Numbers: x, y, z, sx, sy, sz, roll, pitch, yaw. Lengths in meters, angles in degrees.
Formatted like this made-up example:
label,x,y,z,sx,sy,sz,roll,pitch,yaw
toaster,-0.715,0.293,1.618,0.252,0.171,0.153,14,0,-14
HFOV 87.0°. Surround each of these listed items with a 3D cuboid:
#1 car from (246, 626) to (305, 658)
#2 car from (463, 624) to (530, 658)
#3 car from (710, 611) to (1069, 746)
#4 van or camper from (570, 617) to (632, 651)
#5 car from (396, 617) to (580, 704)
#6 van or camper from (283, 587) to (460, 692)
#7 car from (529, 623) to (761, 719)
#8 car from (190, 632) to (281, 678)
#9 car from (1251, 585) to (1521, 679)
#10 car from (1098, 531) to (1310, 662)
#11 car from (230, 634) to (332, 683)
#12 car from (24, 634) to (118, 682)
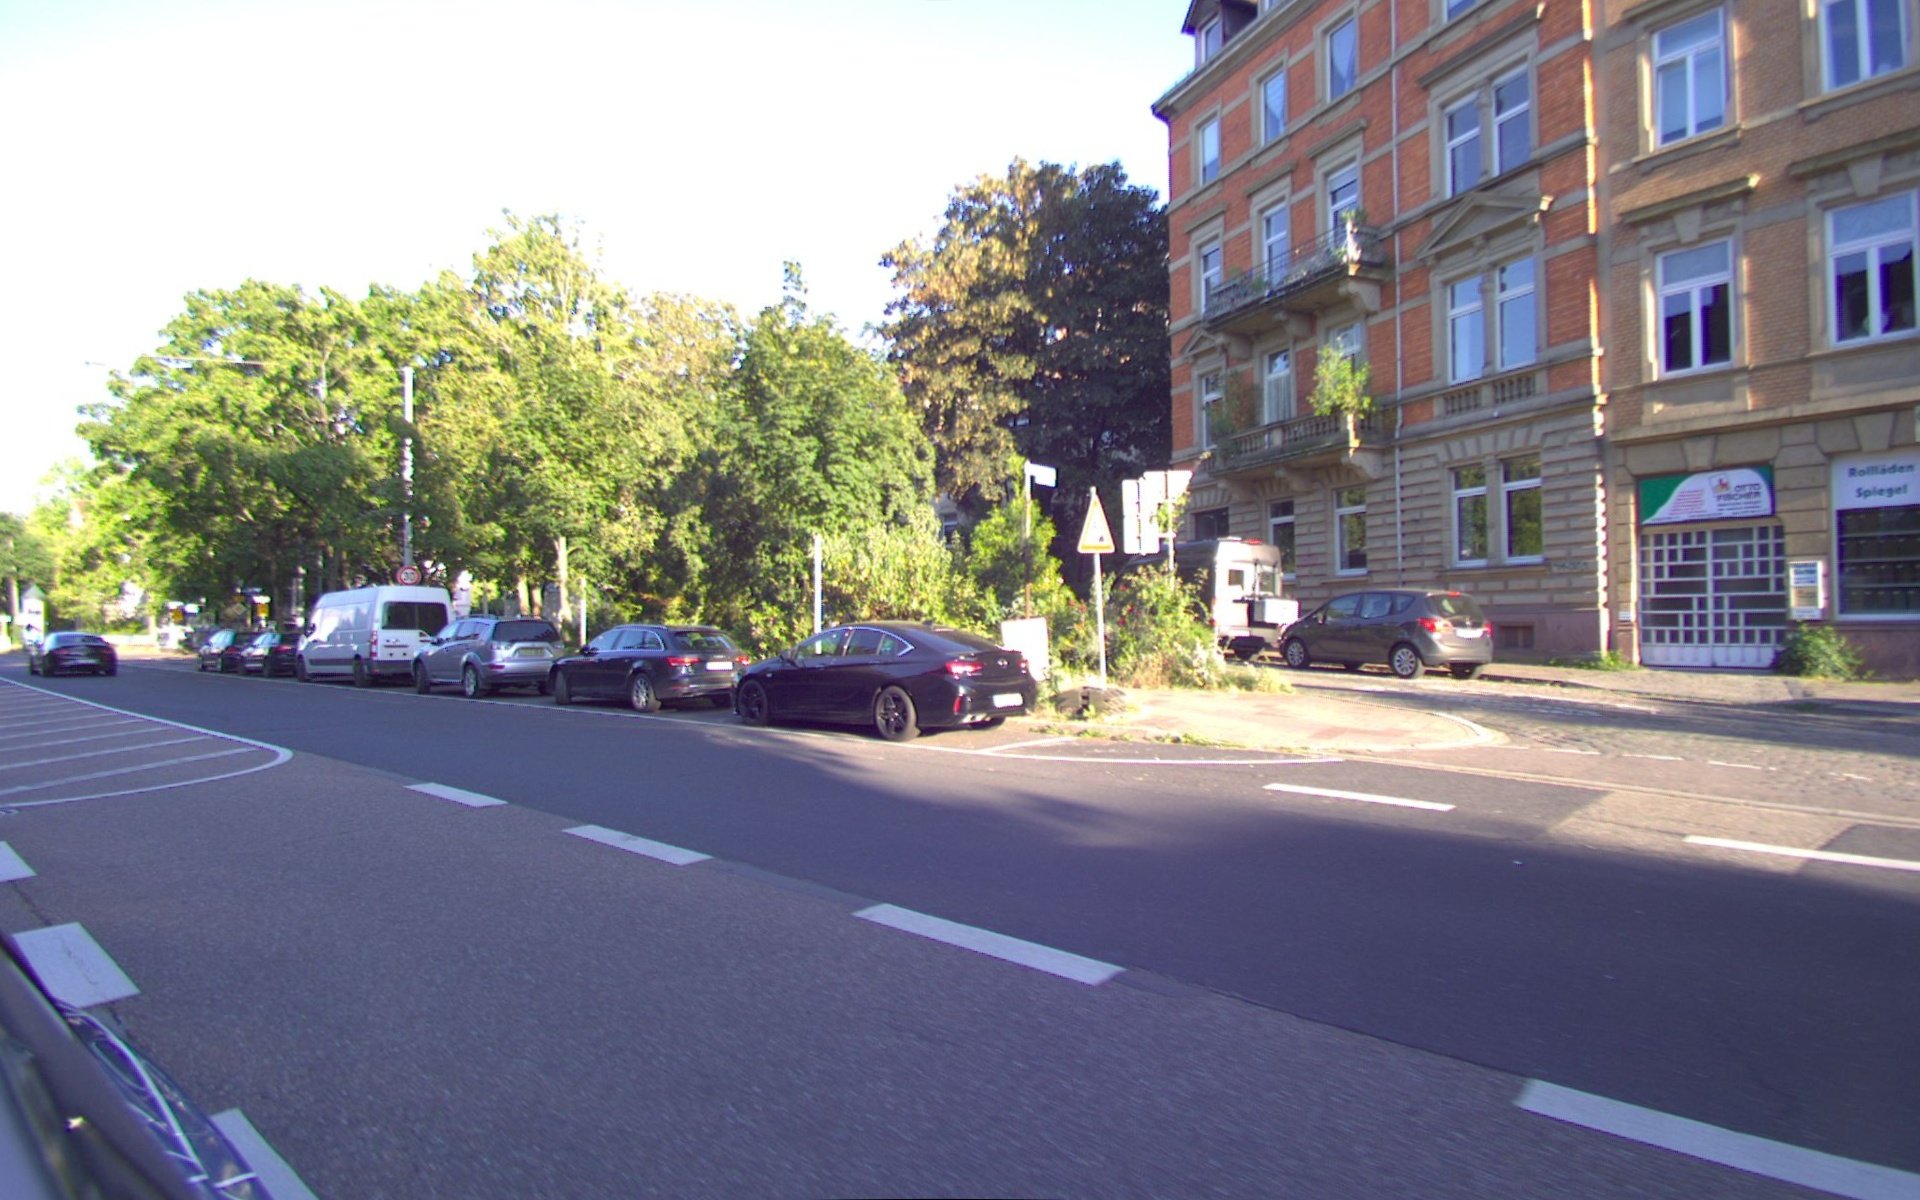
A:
label,x,y,z,sx,sy,sz,roll,pitch,yaw
car,-41.586,2.540,61.458,3.993,1.809,1.802,-2,-1,37
car,-27.478,2.432,59.963,3.993,1.896,1.975,-2,0,37
car,-1.099,0.939,13.538,4.826,1.495,1.973,-2,-2,41
van or camper,-27.887,2.654,78.529,5.423,2.490,2.045,-2,-1,40
car,-10.158,1.244,21.627,4.568,1.657,1.846,-2,-3,41
van or camper,-15.633,1.047,26.699,6.301,2.487,2.069,-2,-3,41
car,-5.612,1.174,17.717,4.622,1.456,1.718,-2,-2,41
car,-25.429,1.883,35.478,4.542,1.518,1.606,-2,-2,41
car,7.887,0.614,19.272,1.965,1.549,4.577,1,-2,-25
car,5.612,0.029,24.173,2.090,2.760,5.327,1,-3,-24
car,-21.521,1.818,32.020,4.239,1.440,1.611,-2,-3,41
car,-28.718,1.833,32.643,4.543,1.413,1.747,-2,-2,42
